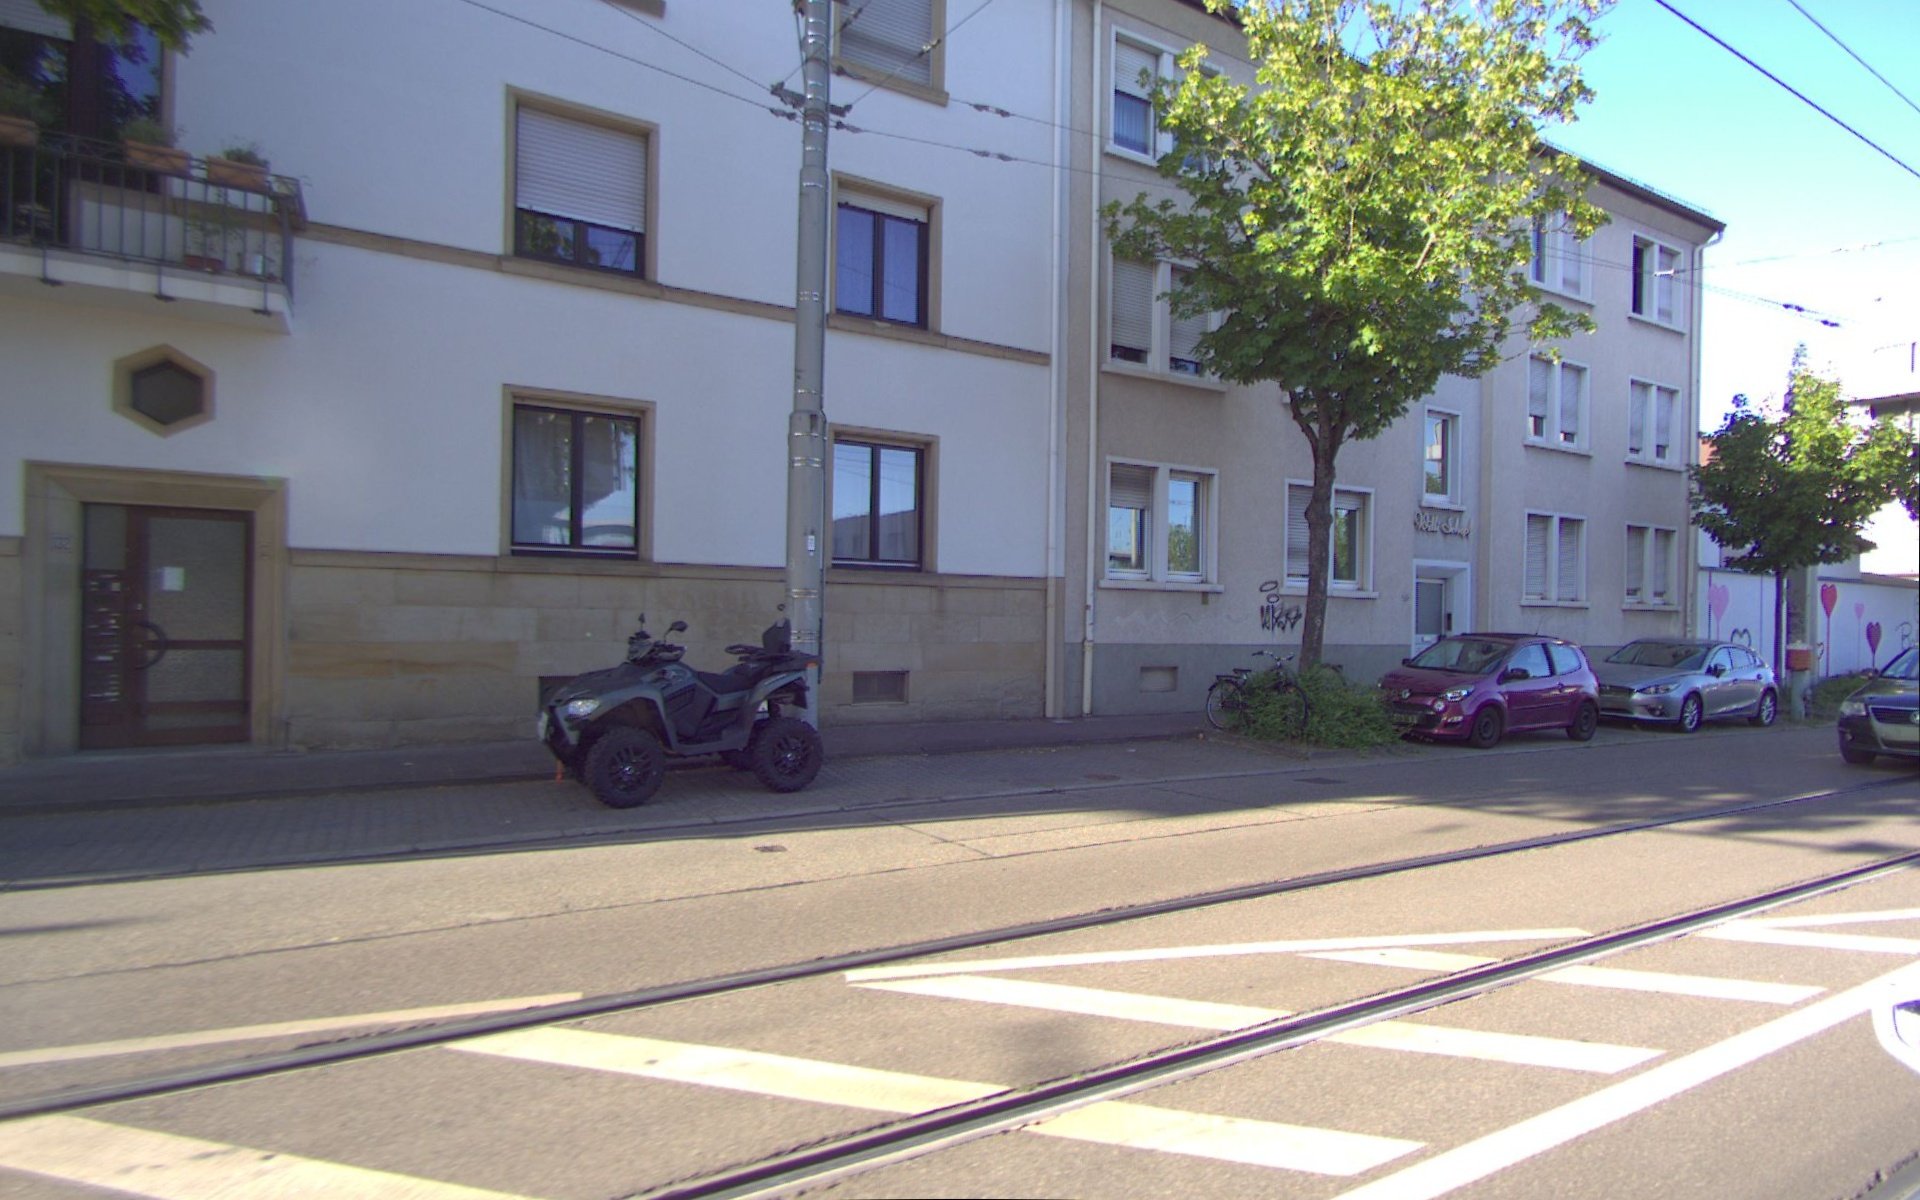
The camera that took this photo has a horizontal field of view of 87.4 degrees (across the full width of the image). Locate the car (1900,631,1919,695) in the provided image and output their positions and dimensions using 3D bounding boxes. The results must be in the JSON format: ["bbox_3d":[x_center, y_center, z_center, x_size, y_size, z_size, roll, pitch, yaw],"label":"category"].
[{"bbox_3d":[24.837,1.575,24.713,4.265,1.505,1.760,2,0,-37],"label":"car"}]

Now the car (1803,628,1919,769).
[{"bbox_3d":[12.096,1.104,11.723,4.686,1.482,1.760,2,-2,-27],"label":"car"}]

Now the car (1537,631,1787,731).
[{"bbox_3d":[11.984,1.307,17.102,4.242,1.448,1.864,2,0,-30],"label":"car"}]

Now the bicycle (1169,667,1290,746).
[{"bbox_3d":[3.386,1.319,12.762,0.273,0.813,1.777,2,0,-31],"label":"bicycle"}]

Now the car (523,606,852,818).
[{"bbox_3d":[-2.380,0.856,8.811,2.516,1.523,1.349,-1,1,-30],"label":"car"}]

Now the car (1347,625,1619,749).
[{"bbox_3d":[7.538,1.175,14.398,3.953,1.525,1.564,2,0,-30],"label":"car"}]
